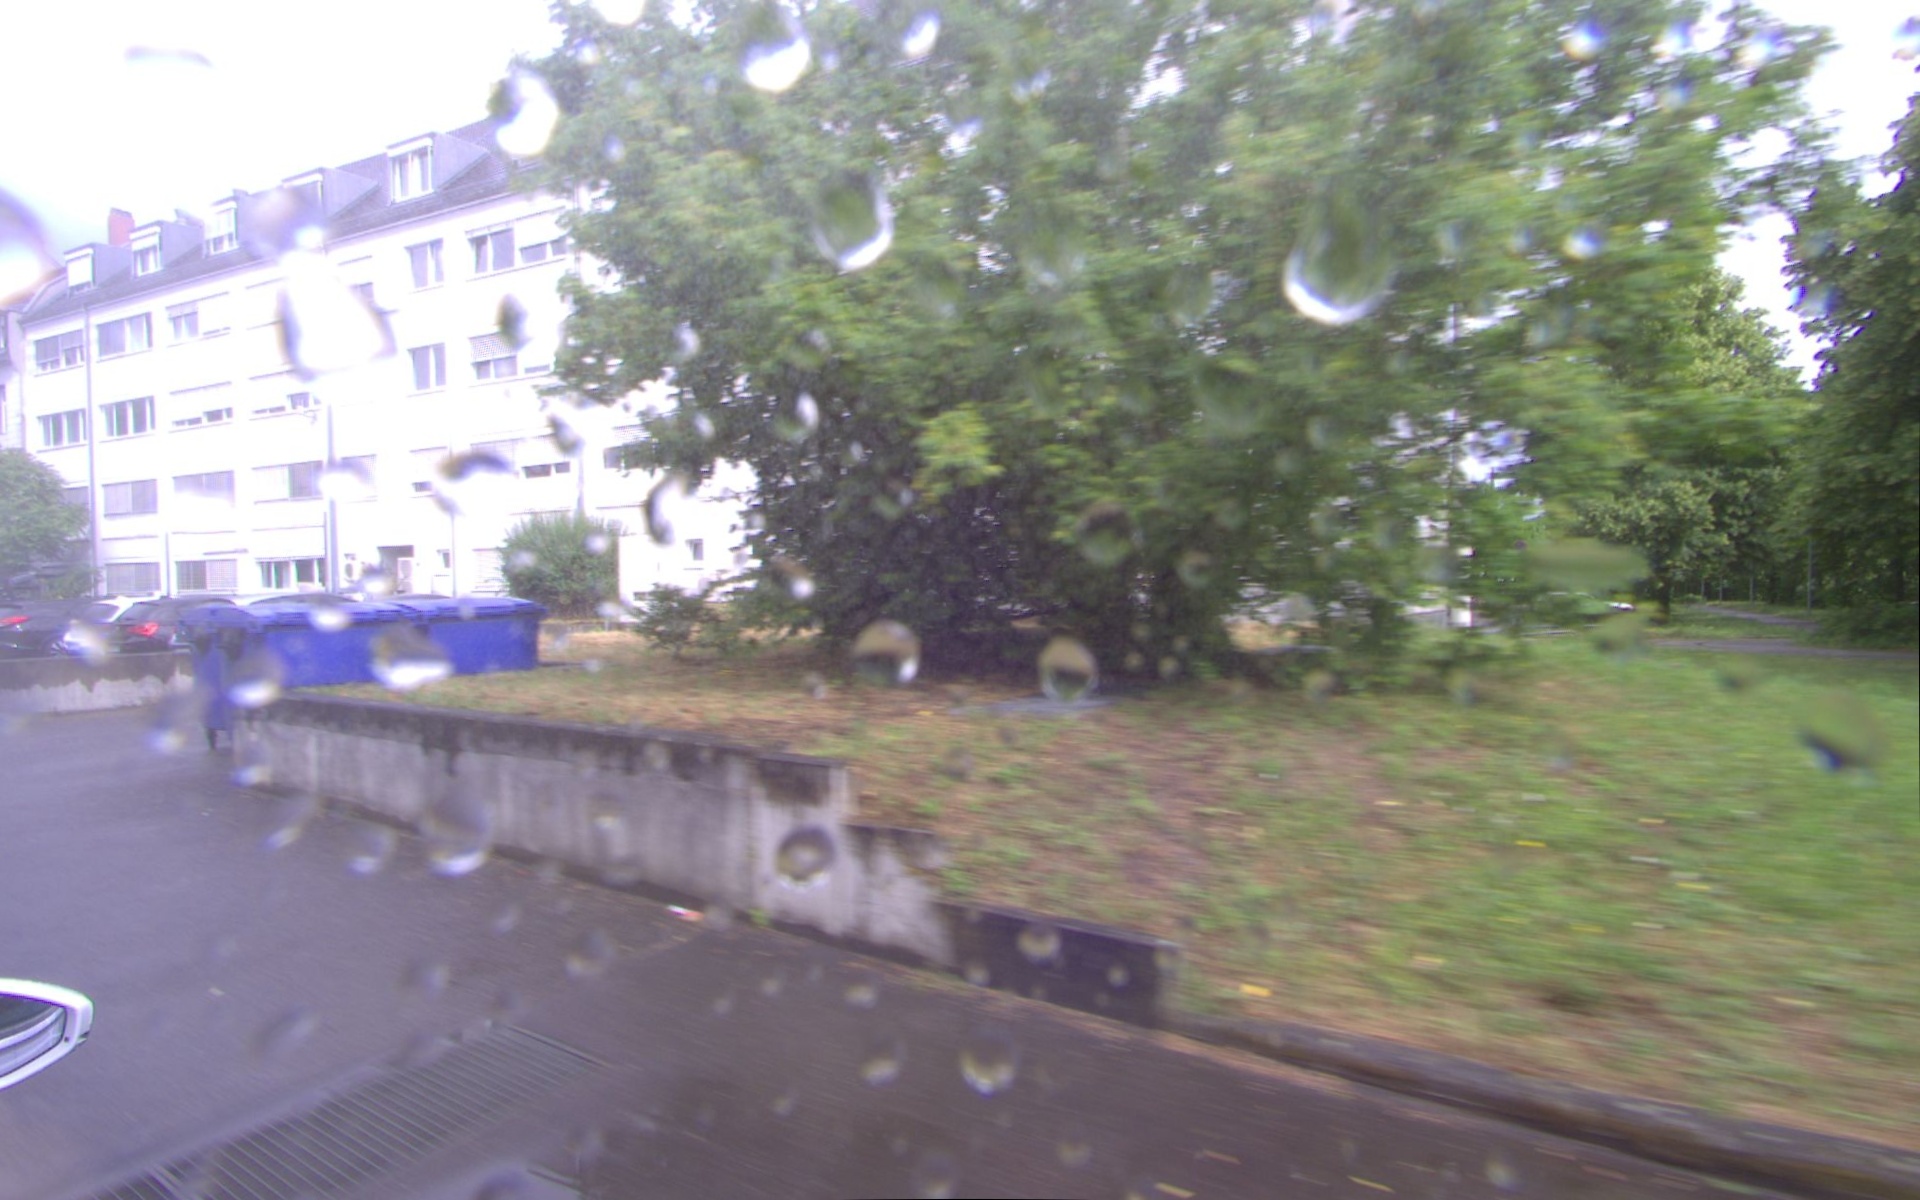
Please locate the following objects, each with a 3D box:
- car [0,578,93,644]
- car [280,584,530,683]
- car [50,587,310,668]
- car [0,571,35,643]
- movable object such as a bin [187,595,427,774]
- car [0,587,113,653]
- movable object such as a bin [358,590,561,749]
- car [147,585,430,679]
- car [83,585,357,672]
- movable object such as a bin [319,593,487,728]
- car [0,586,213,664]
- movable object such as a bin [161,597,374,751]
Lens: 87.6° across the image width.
[{"bbox_3d":[-26.085,0.311,26.824,1.790,1.710,3.900,0,2,31],"label":"car"},{"bbox_3d":[-9.567,0.506,17.508,1.663,1.446,3.408,0,2,30],"label":"car"},{"bbox_3d":[-16.486,0.510,21.388,1.745,1.478,3.983,0,2,27],"label":"car"},{"bbox_3d":[-28.898,0.238,27.482,2.187,2.031,4.636,1,2,22],"label":"car"},{"bbox_3d":[-5.402,0.637,8.337,1.080,1.309,1.333,0,2,35],"label":"movable object such as a bin"},{"bbox_3d":[-23.643,0.498,24.622,1.725,1.534,3.904,0,2,27],"label":"car"},{"bbox_3d":[-4.724,0.593,9.501,1.180,1.355,1.289,0,2,35],"label":"movable object such as a bin"},{"bbox_3d":[-12.341,0.496,18.683,1.779,1.465,3.980,0,2,29],"label":"car"},{"bbox_3d":[-14.518,0.477,19.905,1.745,1.422,3.981,1,3,28],"label":"car"},{"bbox_3d":[-5.958,0.600,10.749,1.091,1.322,1.182,0,2,33],"label":"movable object such as a bin"},{"bbox_3d":[-19.633,0.499,22.692,1.790,1.534,3.906,0,2,25],"label":"car"},{"bbox_3d":[-6.637,0.649,9.644,1.068,1.322,1.367,0,2,34],"label":"movable object such as a bin"}]
